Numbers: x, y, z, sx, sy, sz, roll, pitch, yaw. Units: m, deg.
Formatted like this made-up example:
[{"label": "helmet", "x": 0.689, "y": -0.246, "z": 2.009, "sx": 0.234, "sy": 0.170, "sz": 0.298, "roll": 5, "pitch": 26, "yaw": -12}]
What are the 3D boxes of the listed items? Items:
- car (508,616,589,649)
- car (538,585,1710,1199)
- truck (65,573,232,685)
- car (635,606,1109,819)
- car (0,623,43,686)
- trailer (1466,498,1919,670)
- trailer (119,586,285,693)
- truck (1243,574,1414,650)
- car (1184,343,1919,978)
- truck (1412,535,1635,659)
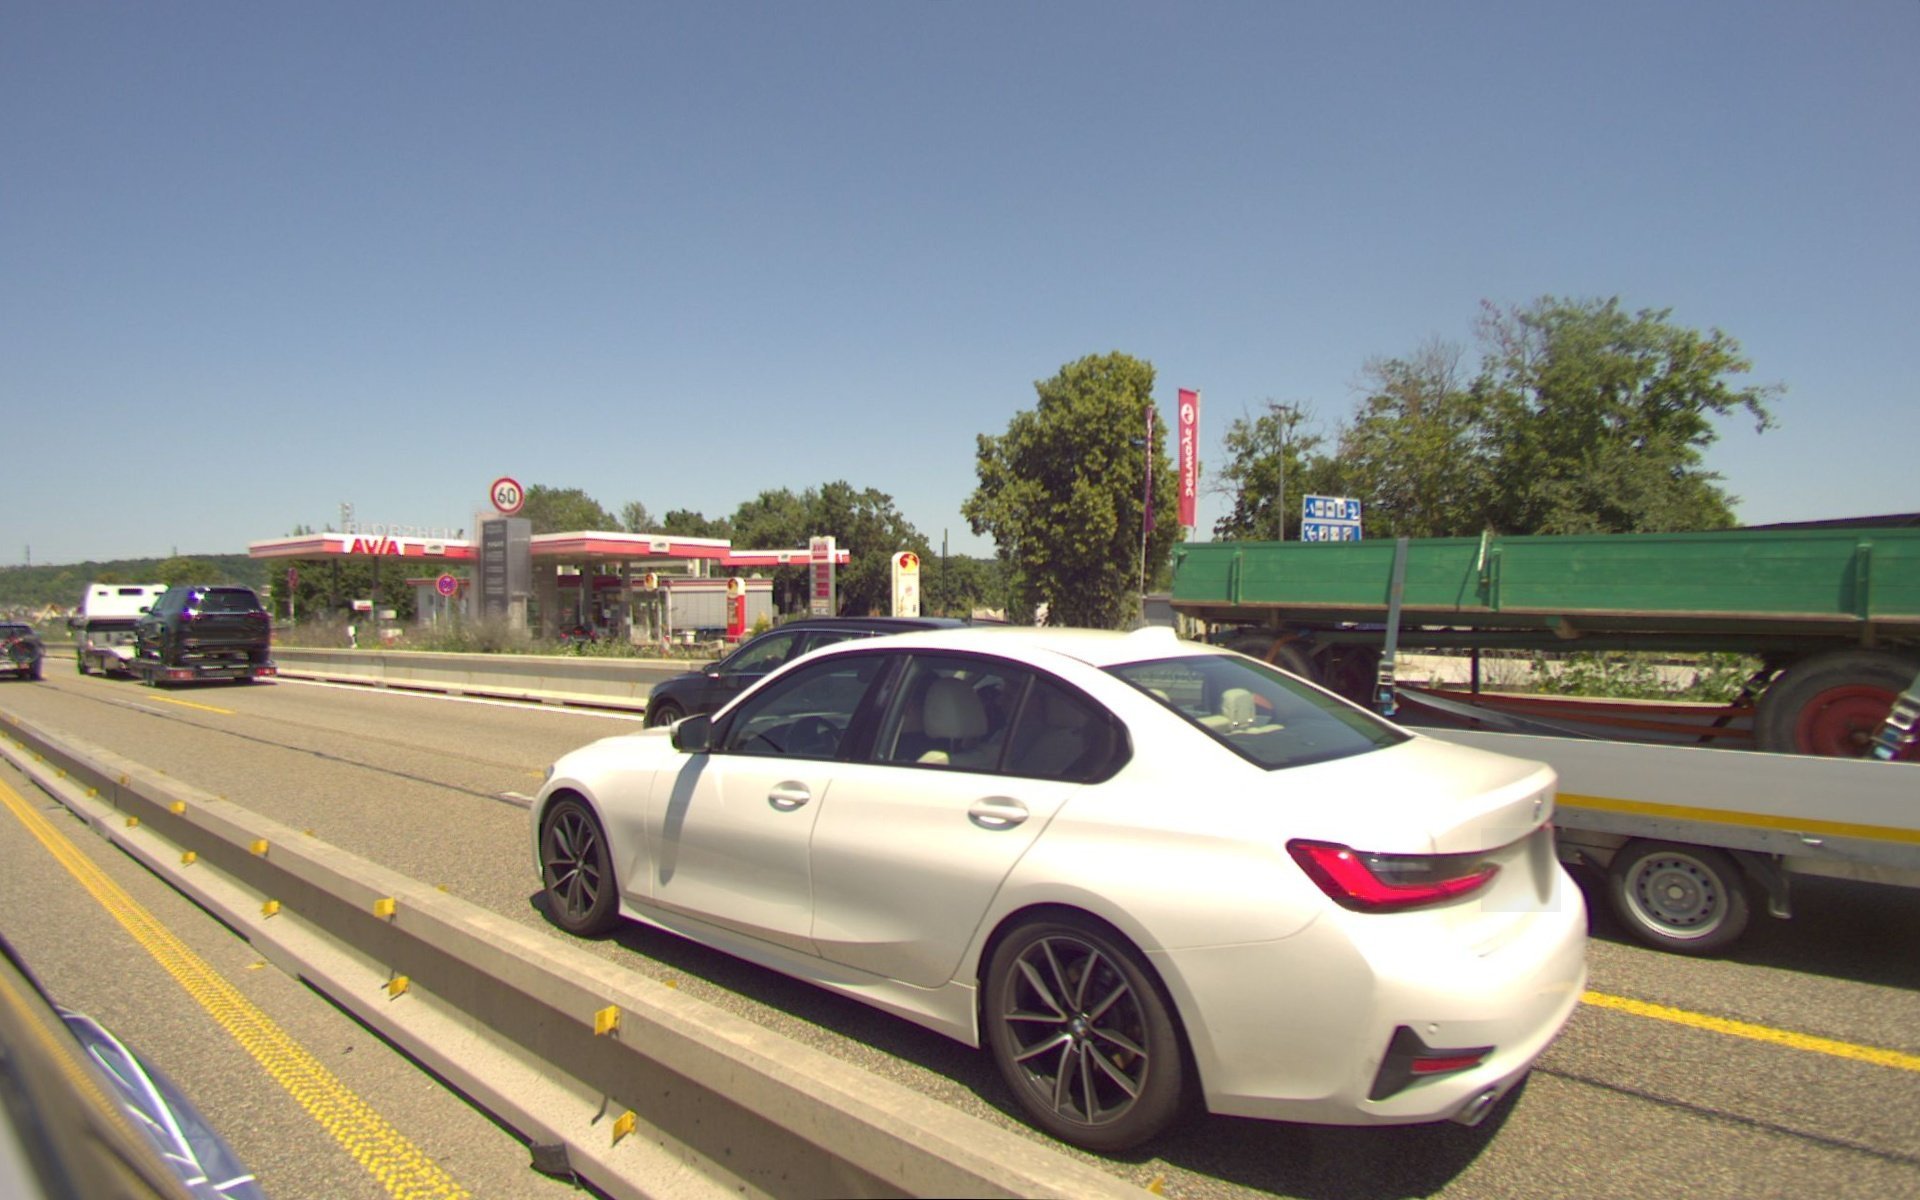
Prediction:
[{"label": "car", "x": -18.818, "y": 1.486, "z": 46.233, "sx": 4.315, "sy": 1.422, "sz": 1.732, "roll": -2, "pitch": -4, "yaw": 43}, {"label": "car", "x": 0.235, "y": 0.755, "z": 3.995, "sx": 4.245, "sy": 1.386, "sz": 1.797, "roll": -2, "pitch": -3, "yaw": 41}, {"label": "truck", "x": -23.700, "y": 0.858, "z": 29.372, "sx": 8.125, "sy": 2.846, "sz": 2.454, "roll": -2, "pitch": -2, "yaw": 42}, {"label": "car", "x": -0.972, "y": 0.842, "z": 9.021, "sx": 4.333, "sy": 1.463, "sz": 1.670, "roll": -2, "pitch": -2, "yaw": 41}, {"label": "car", "x": -26.468, "y": 1.488, "z": 27.501, "sx": 3.998, "sy": 1.621, "sz": 1.884, "roll": -3, "pitch": -2, "yaw": 42}, {"label": "trailer", "x": 22.263, "y": -0.267, "z": 30.287, "sx": 3.105, "sy": 4.142, "sz": 14.209, "roll": 0, "pitch": -1, "yaw": -22}, {"label": "trailer", "x": -18.620, "y": 0.946, "z": 24.737, "sx": 5.611, "sy": 2.332, "sz": 2.159, "roll": -2, "pitch": -2, "yaw": 41}, {"label": "truck", "x": 16.156, "y": 0.543, "z": 45.005, "sx": 2.779, "sy": 3.087, "sz": 7.144, "roll": 0, "pitch": -1, "yaw": -27}, {"label": "car", "x": 4.365, "y": 0.234, "z": 4.497, "sx": 6.448, "sy": 2.417, "sz": 1.894, "roll": -2, "pitch": -2, "yaw": 41}, {"label": "truck", "x": 19.870, "y": -0.043, "z": 36.180, "sx": 3.105, "sy": 4.015, "sz": 6.367, "roll": 0, "pitch": -1, "yaw": -22}]
